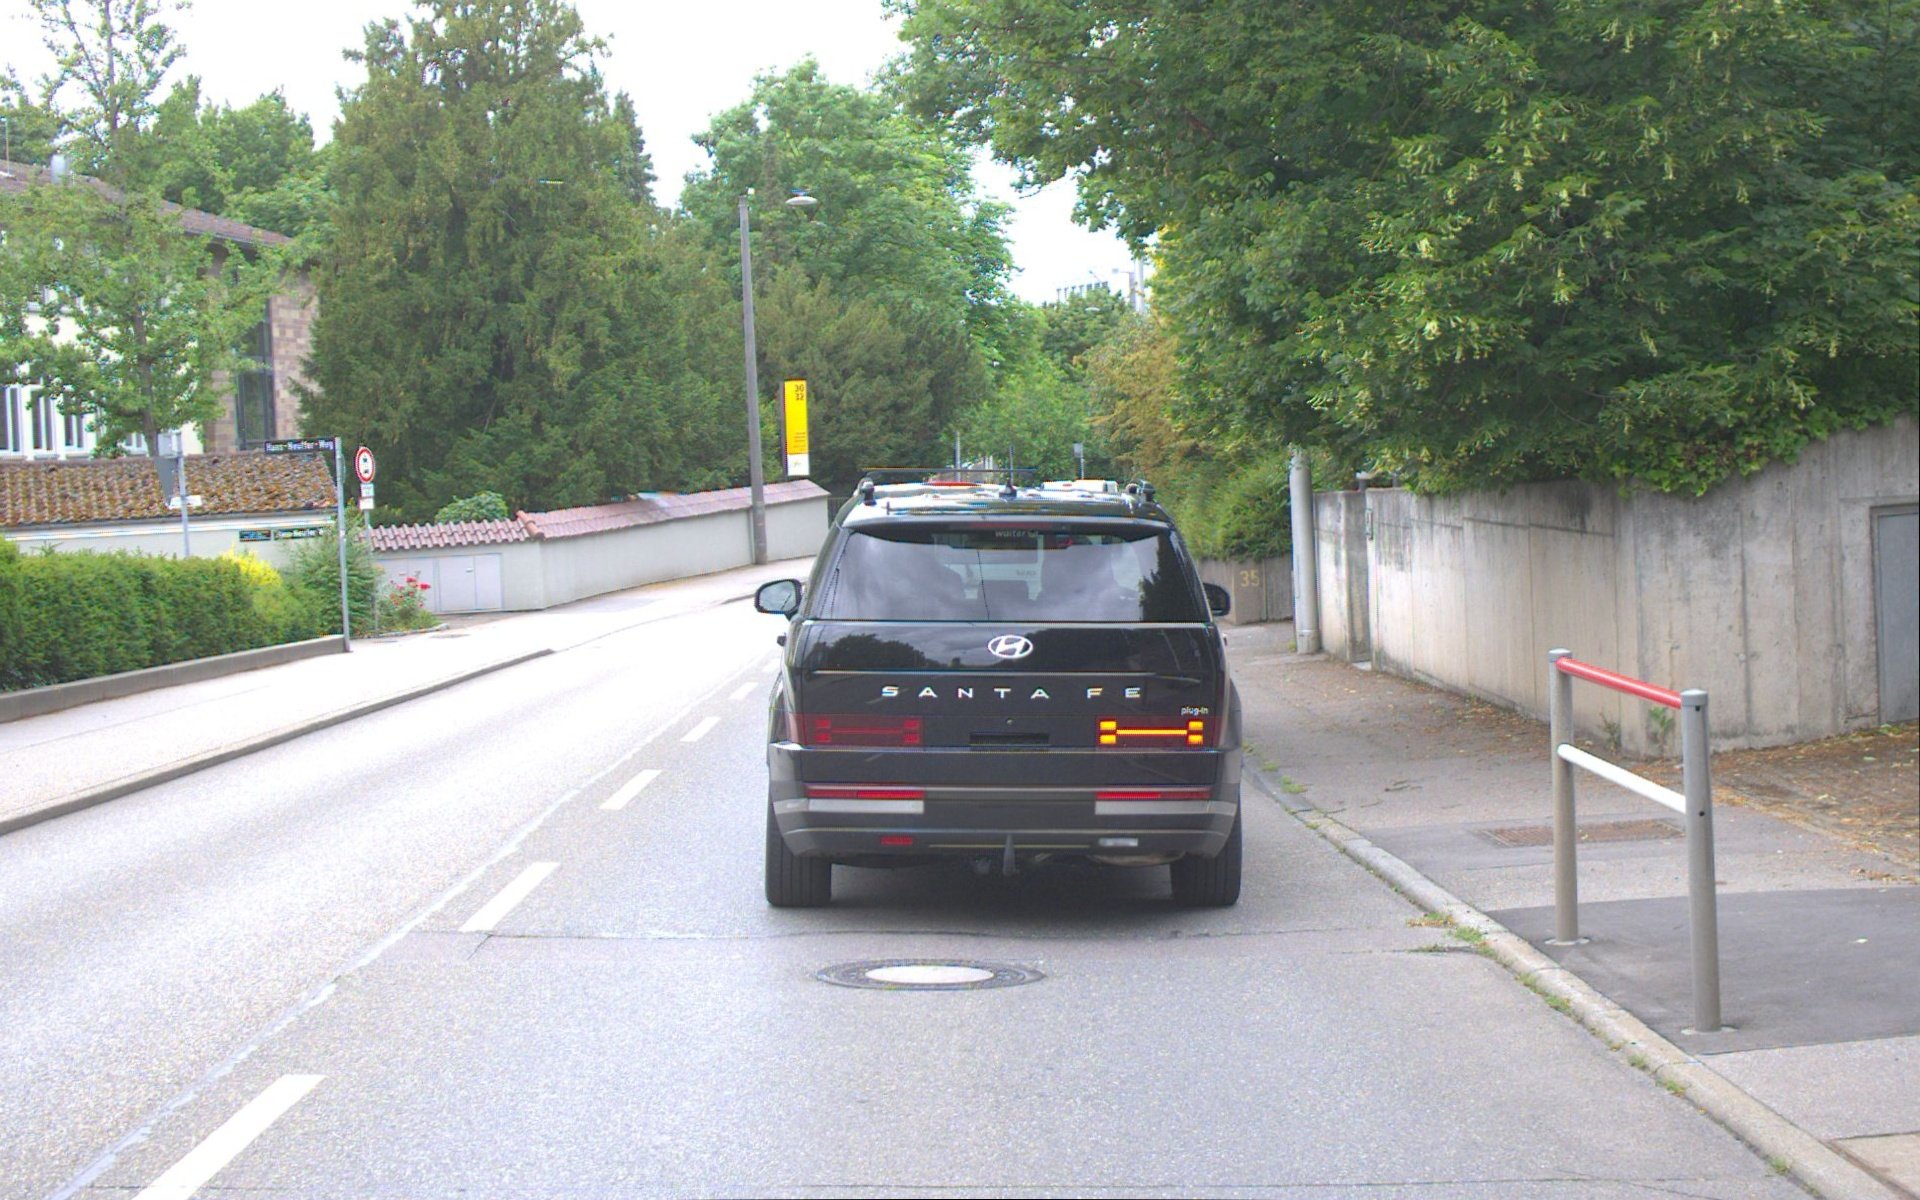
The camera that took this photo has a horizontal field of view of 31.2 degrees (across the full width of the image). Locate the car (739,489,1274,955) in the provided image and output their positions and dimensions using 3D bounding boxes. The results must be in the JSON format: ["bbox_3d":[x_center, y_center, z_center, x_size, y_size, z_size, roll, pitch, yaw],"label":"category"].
[{"bbox_3d":[0.162,0.389,14.738,1.957,1.707,4.224,0,2,0],"label":"car"}]

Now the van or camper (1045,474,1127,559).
[{"bbox_3d":[3.319,-2.202,89.714,1.676,2.000,3.937,-2,3,8],"label":"van or camper"}]

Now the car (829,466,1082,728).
[{"bbox_3d":[0.019,-0.106,28.707,1.957,1.949,4.224,0,3,2],"label":"car"}]
